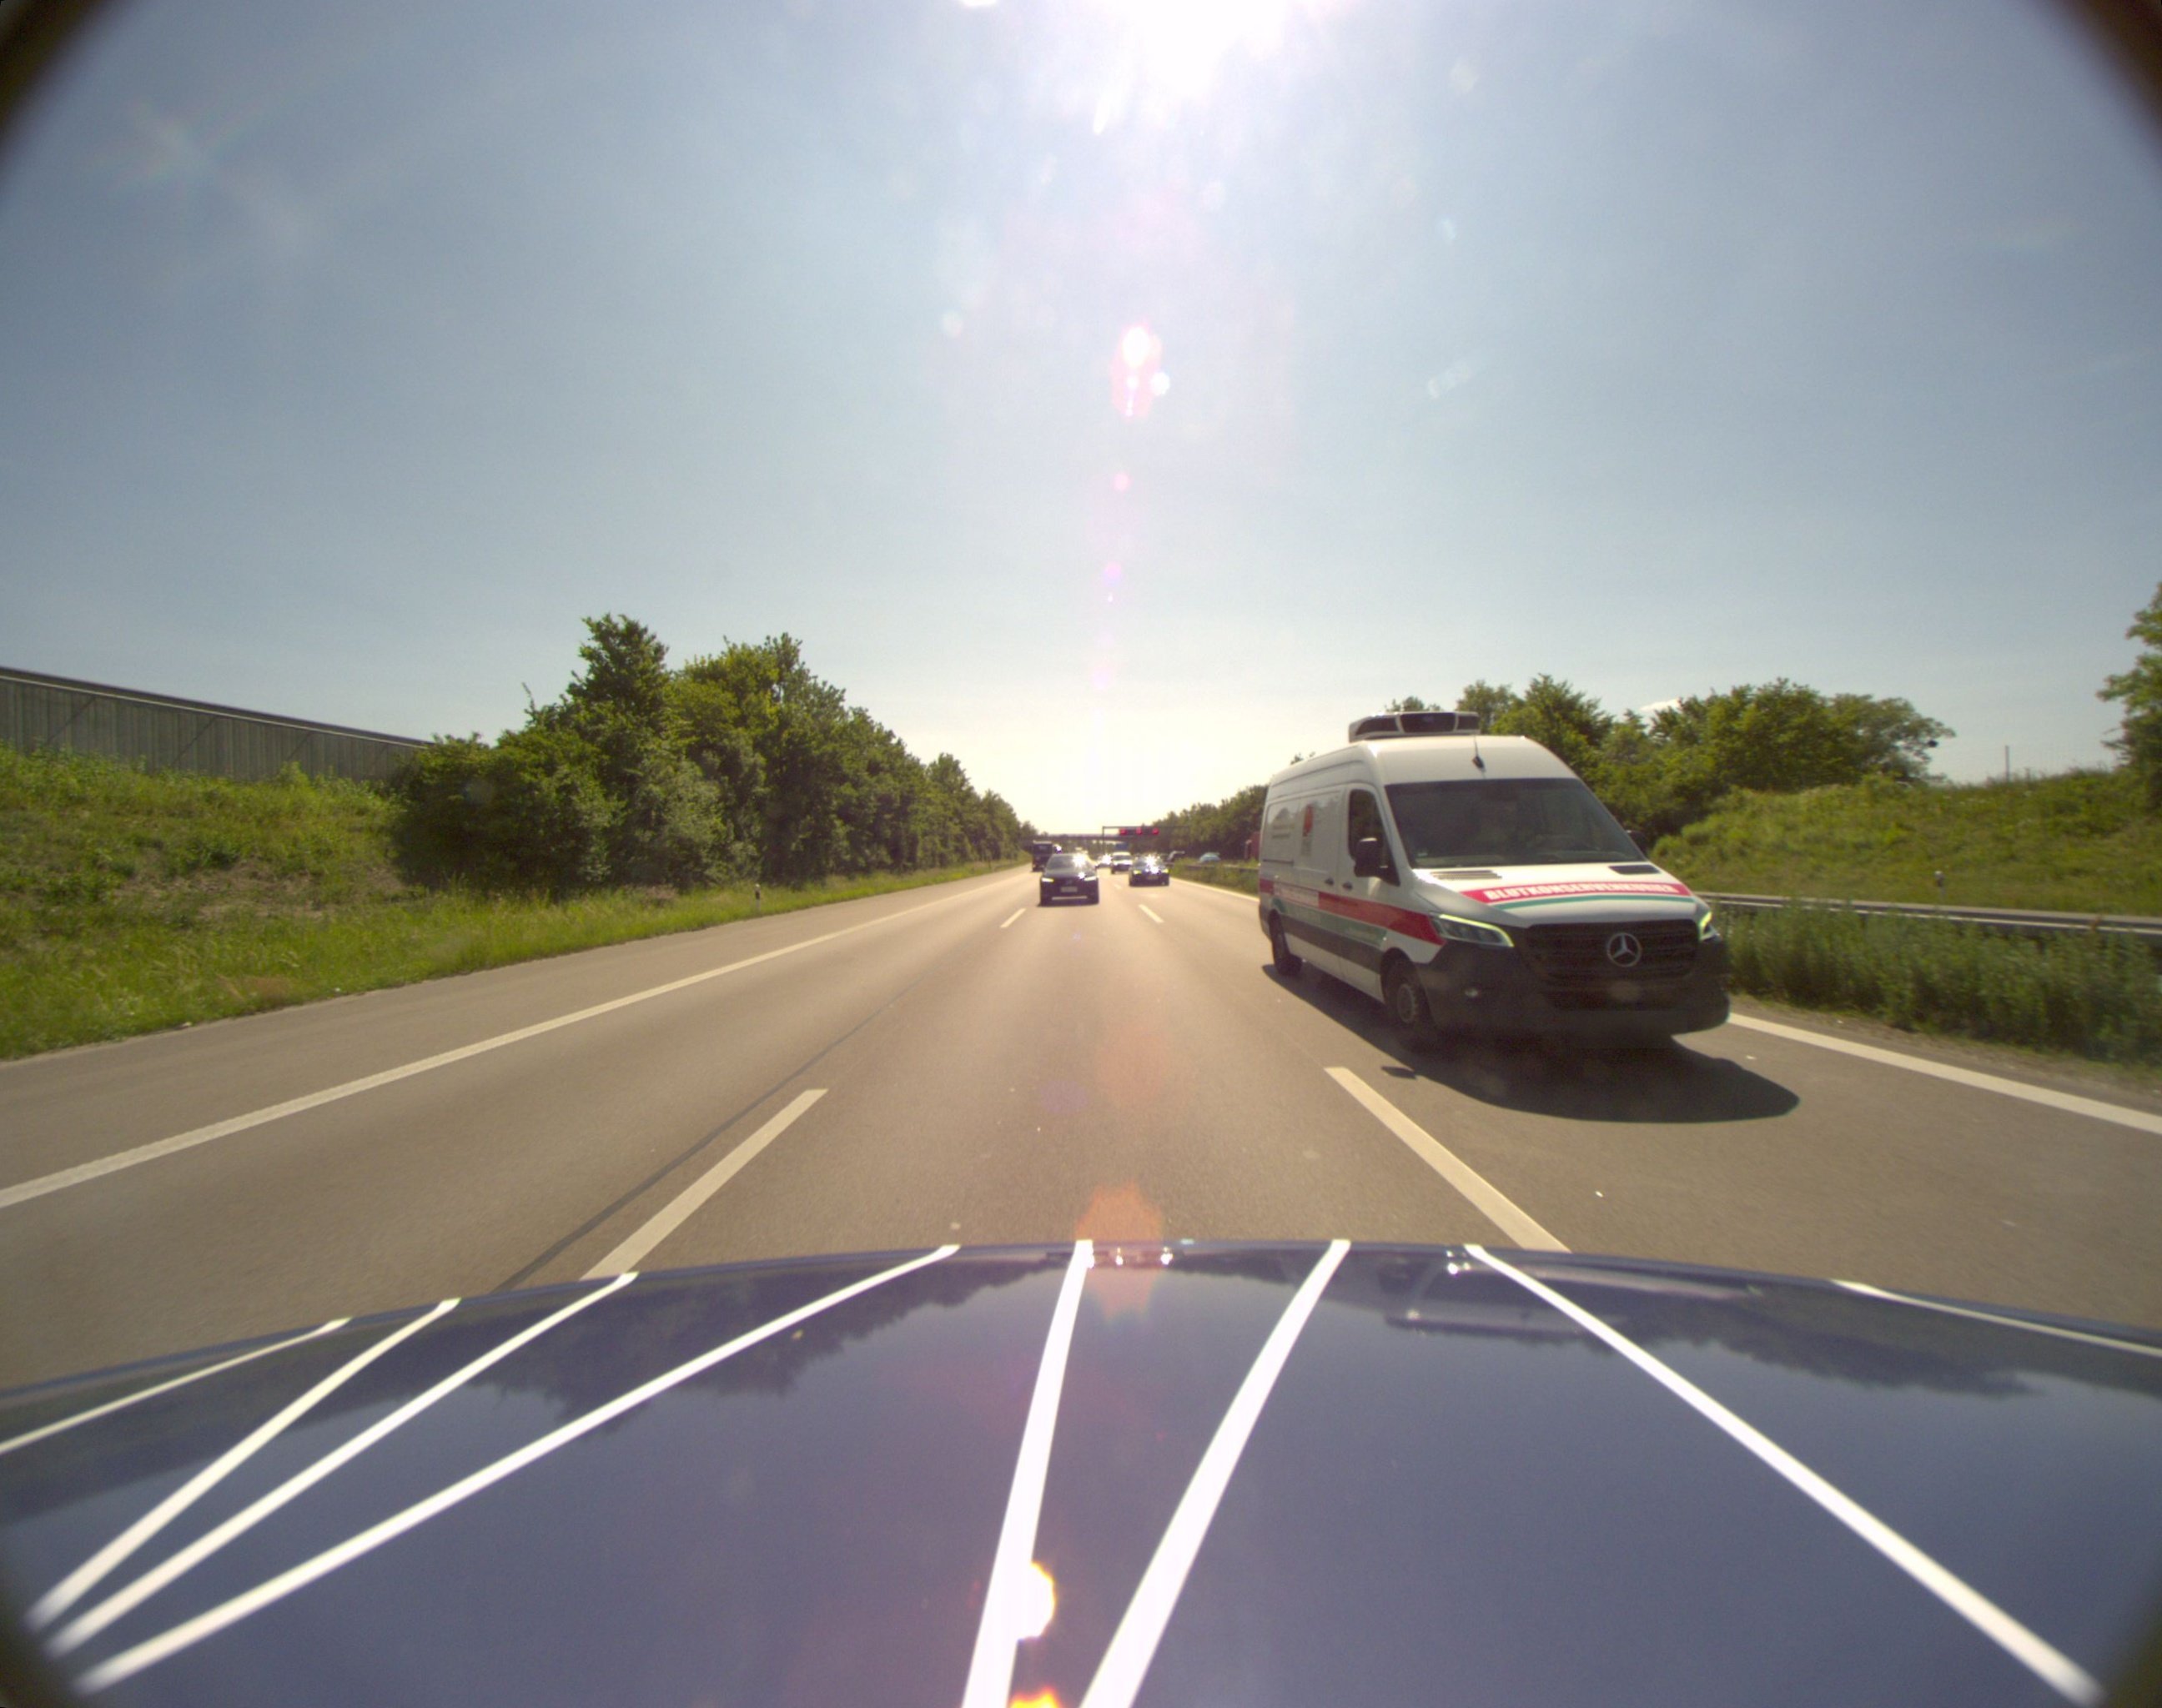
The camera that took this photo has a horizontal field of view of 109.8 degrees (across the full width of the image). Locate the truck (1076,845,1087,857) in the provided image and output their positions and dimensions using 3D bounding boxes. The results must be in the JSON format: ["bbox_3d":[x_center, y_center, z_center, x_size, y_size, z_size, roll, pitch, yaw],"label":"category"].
[{"bbox_3d":[0.006,-0.975,237.443,3.243,3.684,10.932,-1,0,-1],"label":"truck"}]

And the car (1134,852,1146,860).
[{"bbox_3d":[11.045,0.331,141.701,1.959,1.474,4.345,-1,0,1],"label":"car"}]

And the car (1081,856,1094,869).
[{"bbox_3d":[0.921,1.176,106.088,1.742,1.630,3.845,0,1,3],"label":"car"}]

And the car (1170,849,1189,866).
[{"bbox_3d":[11.831,0.392,91.308,1.821,1.892,4.000,-1,0,0],"label":"car"}]

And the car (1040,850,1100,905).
[{"bbox_3d":[-0.368,0.728,25.833,1.812,1.648,3.999,-2,0,-1],"label":"car"}]

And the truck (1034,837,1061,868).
[{"bbox_3d":[-3.837,-0.190,88.364,2.965,3.388,8.045,0,1,-2],"label":"truck"}]

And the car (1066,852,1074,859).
[{"bbox_3d":[-3.099,0.462,212.097,1.998,1.765,4.236,-1,0,1],"label":"car"}]

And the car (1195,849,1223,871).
[{"bbox_3d":[11.442,0.553,67.983,1.821,1.892,4.000,-1,0,0],"label":"car"}]

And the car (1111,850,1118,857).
[{"bbox_3d":[9.862,-0.133,225.048,1.694,1.871,5.018,-1,0,0],"label":"car"}]

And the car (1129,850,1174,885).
[{"bbox_3d":[3.448,0.636,38.095,1.904,1.616,4.240,-2,0,1],"label":"car"}]

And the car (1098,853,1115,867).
[{"bbox_3d":[3.007,0.703,90.400,1.998,1.540,3.999,-1,1,0],"label":"car"}]

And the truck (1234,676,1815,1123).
[{"bbox_3d":[3.278,0.263,7.792,1.998,2.527,6.691,-3,0,0],"label":"truck"}]

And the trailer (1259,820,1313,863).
[{"bbox_3d":[18.951,-1.073,70.735,2.686,3.747,8.406,0,0,0],"label":"trailer"}]

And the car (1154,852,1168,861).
[{"bbox_3d":[12.125,0.348,115.575,1.672,1.309,4.120,-1,0,0],"label":"car"}]

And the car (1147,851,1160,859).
[{"bbox_3d":[14.895,0.197,156.114,1.999,1.466,5.622,-1,0,-1],"label":"car"}]

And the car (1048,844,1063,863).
[{"bbox_3d":[-5.412,-0.141,161.887,3.203,3.997,8.124,0,1,-1],"label":"car"}]

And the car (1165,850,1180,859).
[{"bbox_3d":[16.154,0.060,134.403,1.999,1.620,4.574,-1,0,-1],"label":"car"}]

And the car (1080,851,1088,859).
[{"bbox_3d":[0.800,0.322,191.964,1.998,2.002,4.345,-1,0,1],"label":"car"}]

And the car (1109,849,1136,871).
[{"bbox_3d":[3.442,0.479,63.715,1.870,1.713,3.979,-1,1,-1],"label":"car"}]

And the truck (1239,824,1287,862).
[{"bbox_3d":[18.970,-1.062,79.901,2.686,3.747,9.918,0,0,0],"label":"truck"}]
